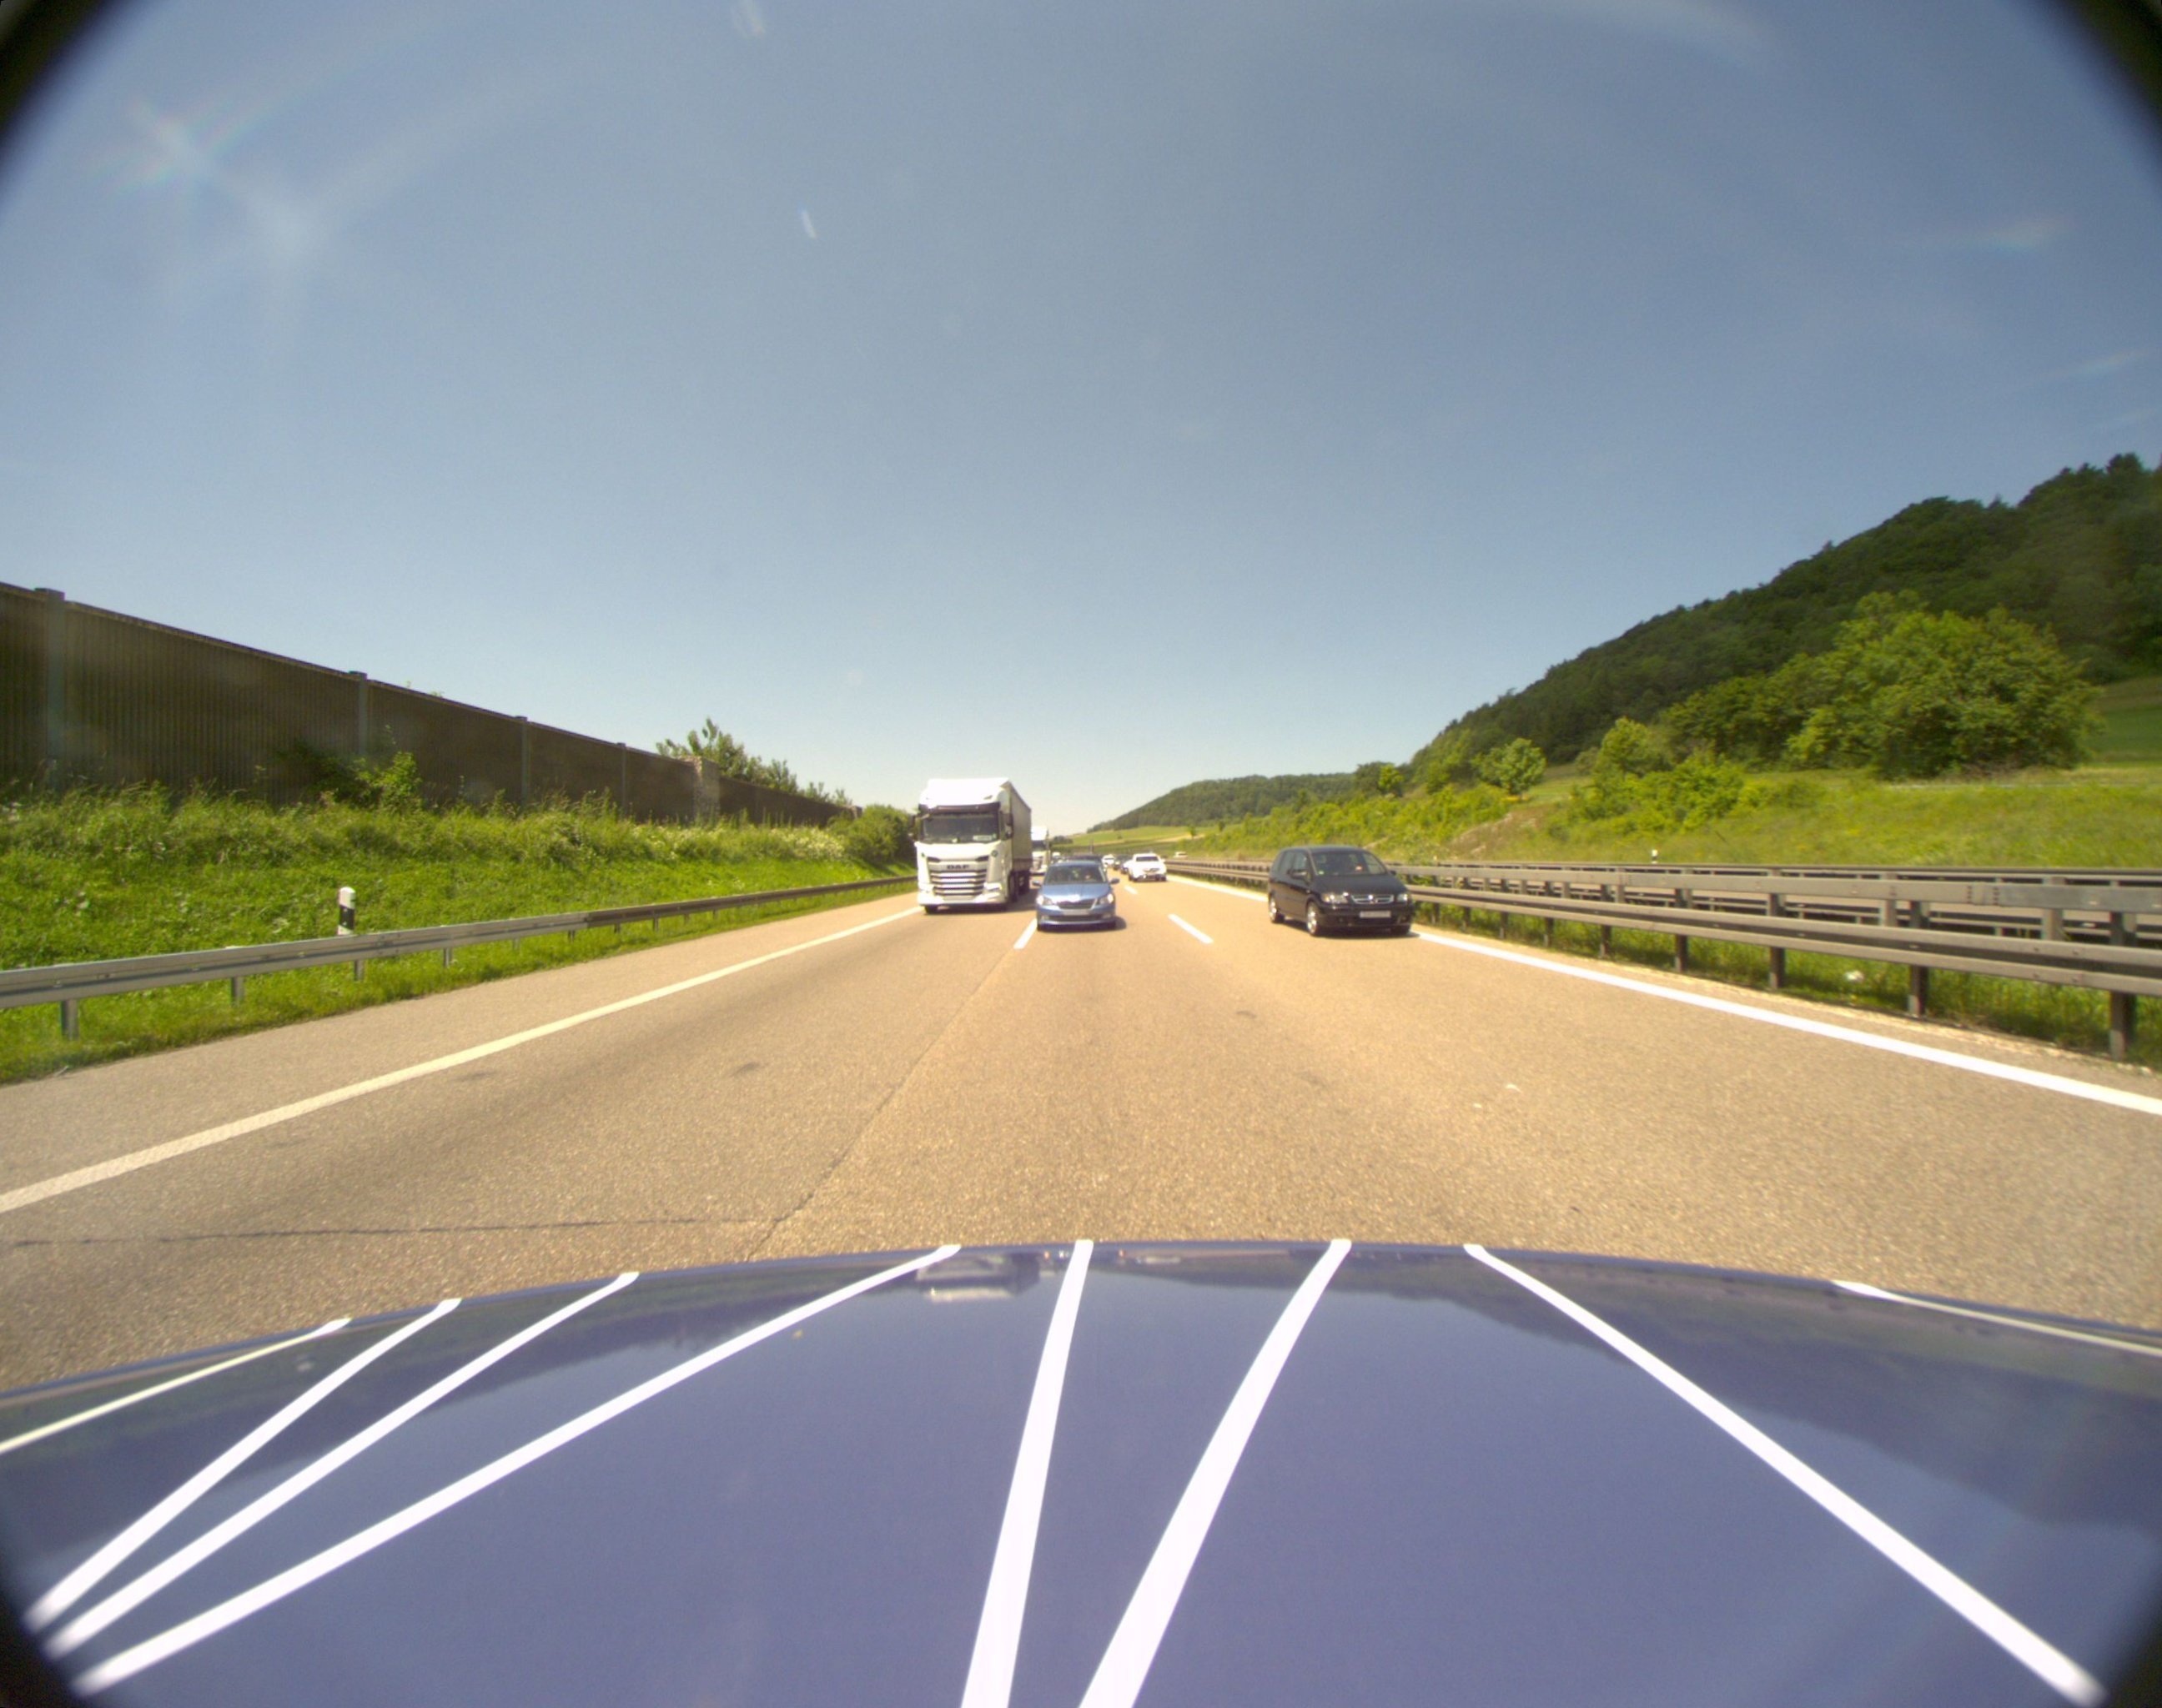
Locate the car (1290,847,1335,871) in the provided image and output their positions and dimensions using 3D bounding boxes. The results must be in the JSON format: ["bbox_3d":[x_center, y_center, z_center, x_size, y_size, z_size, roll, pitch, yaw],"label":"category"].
[{"bbox_3d":[16.208,0.335,53.376,1.854,1.600,4.078,-1,0,0],"label":"car"}]

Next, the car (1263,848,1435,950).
[{"bbox_3d":[4.901,0.723,14.608,1.805,1.625,4.446,-1,0,1],"label":"car"}]

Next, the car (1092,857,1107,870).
[{"bbox_3d":[2.572,1.294,104.920,1.998,1.702,4.000,-2,1,2],"label":"car"}]

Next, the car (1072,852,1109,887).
[{"bbox_3d":[0.500,0.756,39.151,1.736,1.674,4.197,-1,0,1],"label":"car"}]

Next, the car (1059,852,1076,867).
[{"bbox_3d":[-1.728,0.711,95.832,1.999,1.702,3.999,-2,1,-1],"label":"car"}]

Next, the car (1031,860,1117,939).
[{"bbox_3d":[-0.180,0.915,17.364,1.660,1.481,4.652,-1,0,-1],"label":"car"}]

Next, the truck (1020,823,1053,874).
[{"bbox_3d":[-3.782,-0.467,65.136,2.532,4.065,6.077,-2,1,-3],"label":"truck"}]

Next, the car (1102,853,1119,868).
[{"bbox_3d":[3.632,0.818,94.101,1.998,1.702,4.000,-2,1,2],"label":"car"}]

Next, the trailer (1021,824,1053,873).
[{"bbox_3d":[-4.112,-0.540,71.633,2.544,4.085,13.623,-2,1,-3],"label":"trailer"}]

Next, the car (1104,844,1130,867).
[{"bbox_3d":[2.894,0.082,62.230,1.998,1.692,4.000,-2,1,2],"label":"car"}]

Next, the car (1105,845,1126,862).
[{"bbox_3d":[3.494,-0.077,77.410,1.998,1.702,4.000,-2,1,2],"label":"car"}]

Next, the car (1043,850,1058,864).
[{"bbox_3d":[-4.245,0.412,105.582,1.999,1.702,3.999,-2,1,-1],"label":"car"}]

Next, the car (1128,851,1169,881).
[{"bbox_3d":[3.868,0.655,43.894,1.998,1.612,4.000,-2,0,0],"label":"car"}]

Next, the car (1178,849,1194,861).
[{"bbox_3d":[17.687,0.118,128.567,2.065,1.930,4.660,-1,0,0],"label":"car"}]

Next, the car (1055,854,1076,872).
[{"bbox_3d":[-1.527,0.871,76.686,1.999,1.702,3.999,-2,1,-1],"label":"car"}]

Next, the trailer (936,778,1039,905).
[{"bbox_3d":[-3.338,-0.417,30.981,2.484,3.954,13.654,-1,0,0],"label":"trailer"}]

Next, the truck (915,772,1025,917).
[{"bbox_3d":[-3.306,-0.271,24.135,2.484,3.954,6.380,-1,0,0],"label":"truck"}]

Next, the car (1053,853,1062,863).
[{"bbox_3d":[-5.344,0.907,174.703,1.999,2.002,3.999,-2,1,-1],"label":"car"}]
